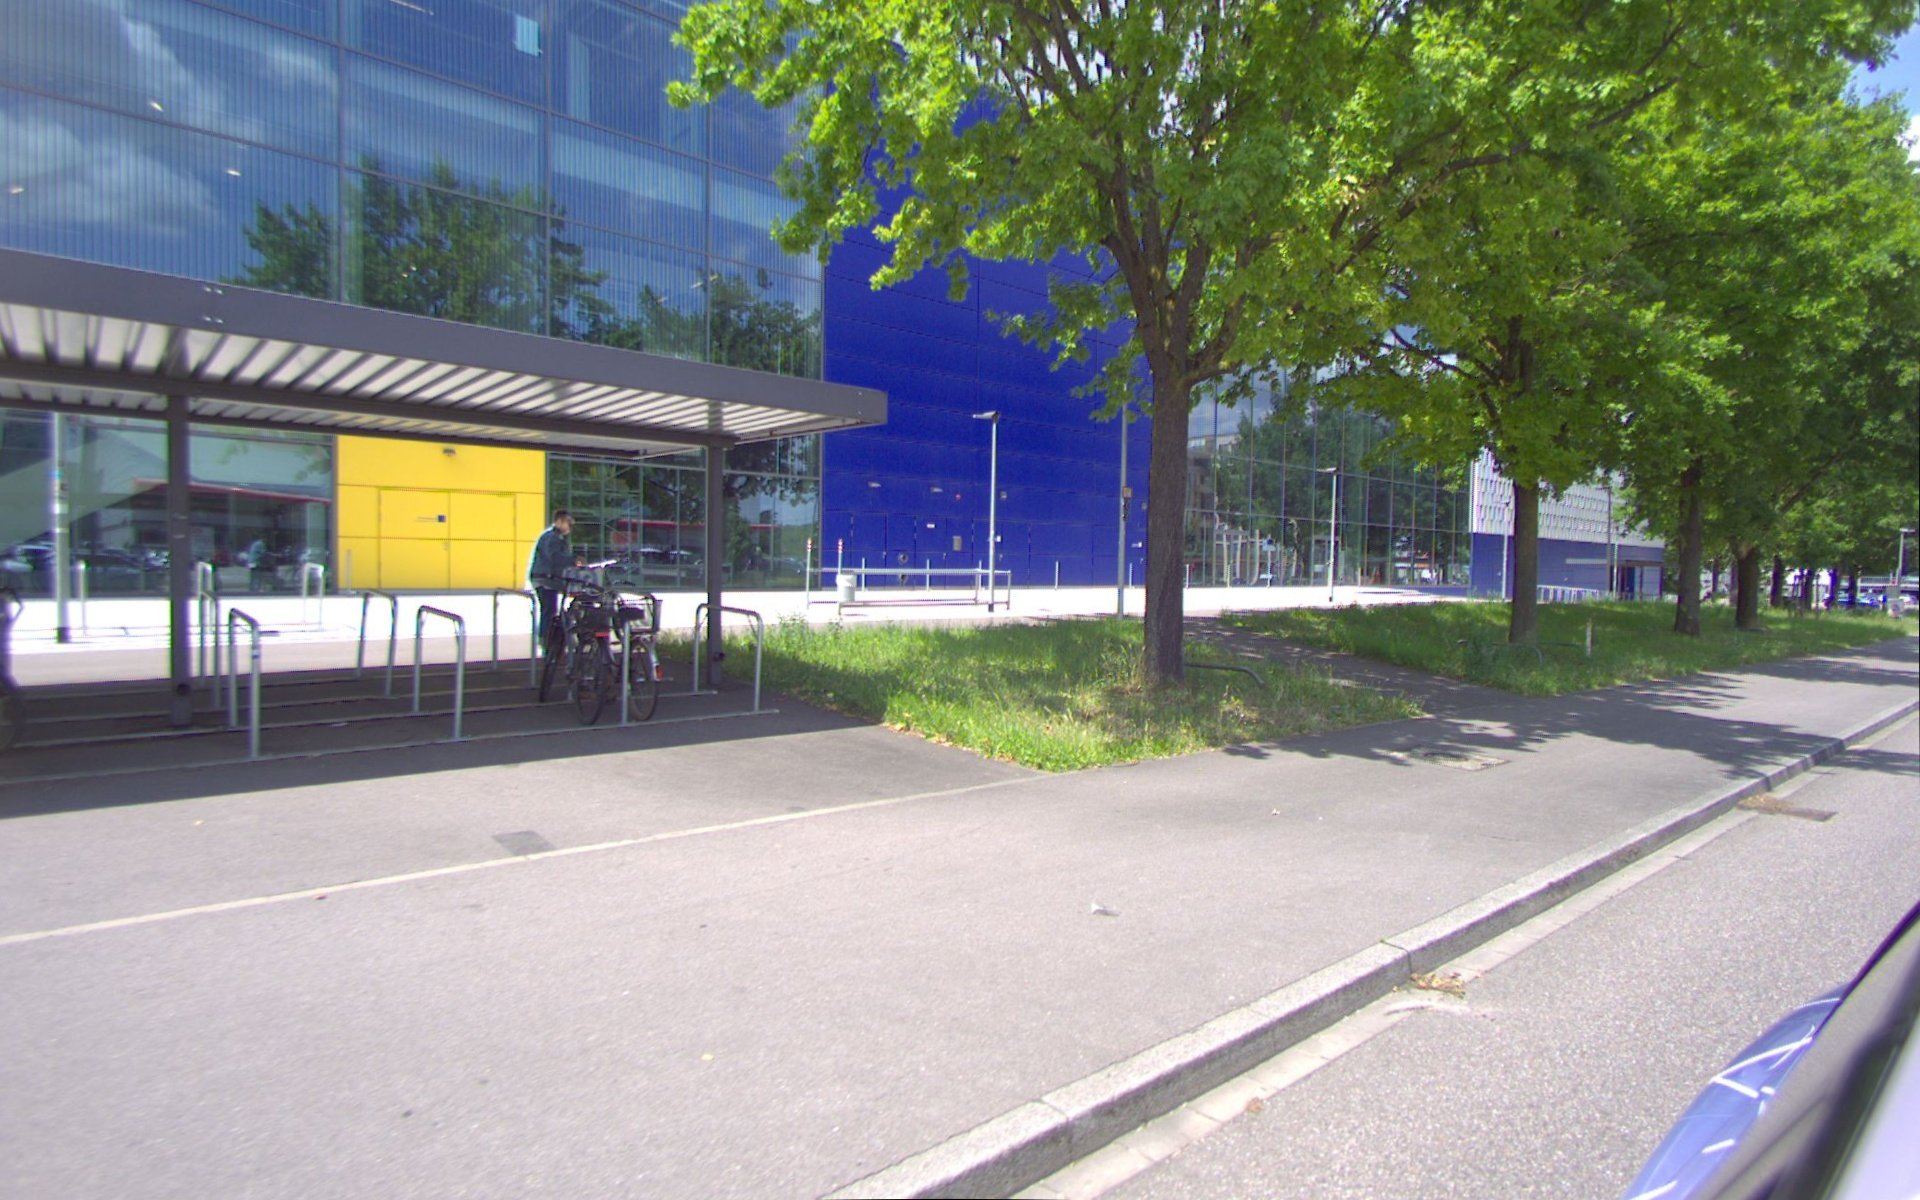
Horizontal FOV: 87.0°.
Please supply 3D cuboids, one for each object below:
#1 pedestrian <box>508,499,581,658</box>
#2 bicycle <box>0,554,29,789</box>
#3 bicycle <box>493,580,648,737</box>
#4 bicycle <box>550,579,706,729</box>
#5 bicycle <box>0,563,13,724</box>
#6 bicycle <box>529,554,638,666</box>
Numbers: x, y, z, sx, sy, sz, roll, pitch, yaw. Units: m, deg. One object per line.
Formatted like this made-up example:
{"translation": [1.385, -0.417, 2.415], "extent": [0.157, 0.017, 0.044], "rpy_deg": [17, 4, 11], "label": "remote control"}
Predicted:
{"translation": [-4.669, -0.245, 11.409], "extent": [0.622, 1.742, 0.525], "rpy_deg": [1, 3, -4], "label": "pedestrian"}
{"translation": [-5.428, 0.362, 5.488], "extent": [0.416, 1.184, 1.901], "rpy_deg": [1, 3, -38], "label": "bicycle"}
{"translation": [-3.113, 0.399, 7.986], "extent": [0.417, 1.006, 1.864], "rpy_deg": [0, 4, -44], "label": "bicycle"}
{"translation": [-2.770, 0.388, 8.325], "extent": [0.417, 1.006, 1.864], "rpy_deg": [0, 4, -44], "label": "bicycle"}
{"translation": [-7.224, 0.274, 7.381], "extent": [0.417, 1.006, 1.864], "rpy_deg": [-1, 5, -44], "label": "bicycle"}
{"translation": [-4.244, 0.062, 11.560], "extent": [0.566, 1.121, 2.017], "rpy_deg": [2, 3, -3], "label": "bicycle"}
